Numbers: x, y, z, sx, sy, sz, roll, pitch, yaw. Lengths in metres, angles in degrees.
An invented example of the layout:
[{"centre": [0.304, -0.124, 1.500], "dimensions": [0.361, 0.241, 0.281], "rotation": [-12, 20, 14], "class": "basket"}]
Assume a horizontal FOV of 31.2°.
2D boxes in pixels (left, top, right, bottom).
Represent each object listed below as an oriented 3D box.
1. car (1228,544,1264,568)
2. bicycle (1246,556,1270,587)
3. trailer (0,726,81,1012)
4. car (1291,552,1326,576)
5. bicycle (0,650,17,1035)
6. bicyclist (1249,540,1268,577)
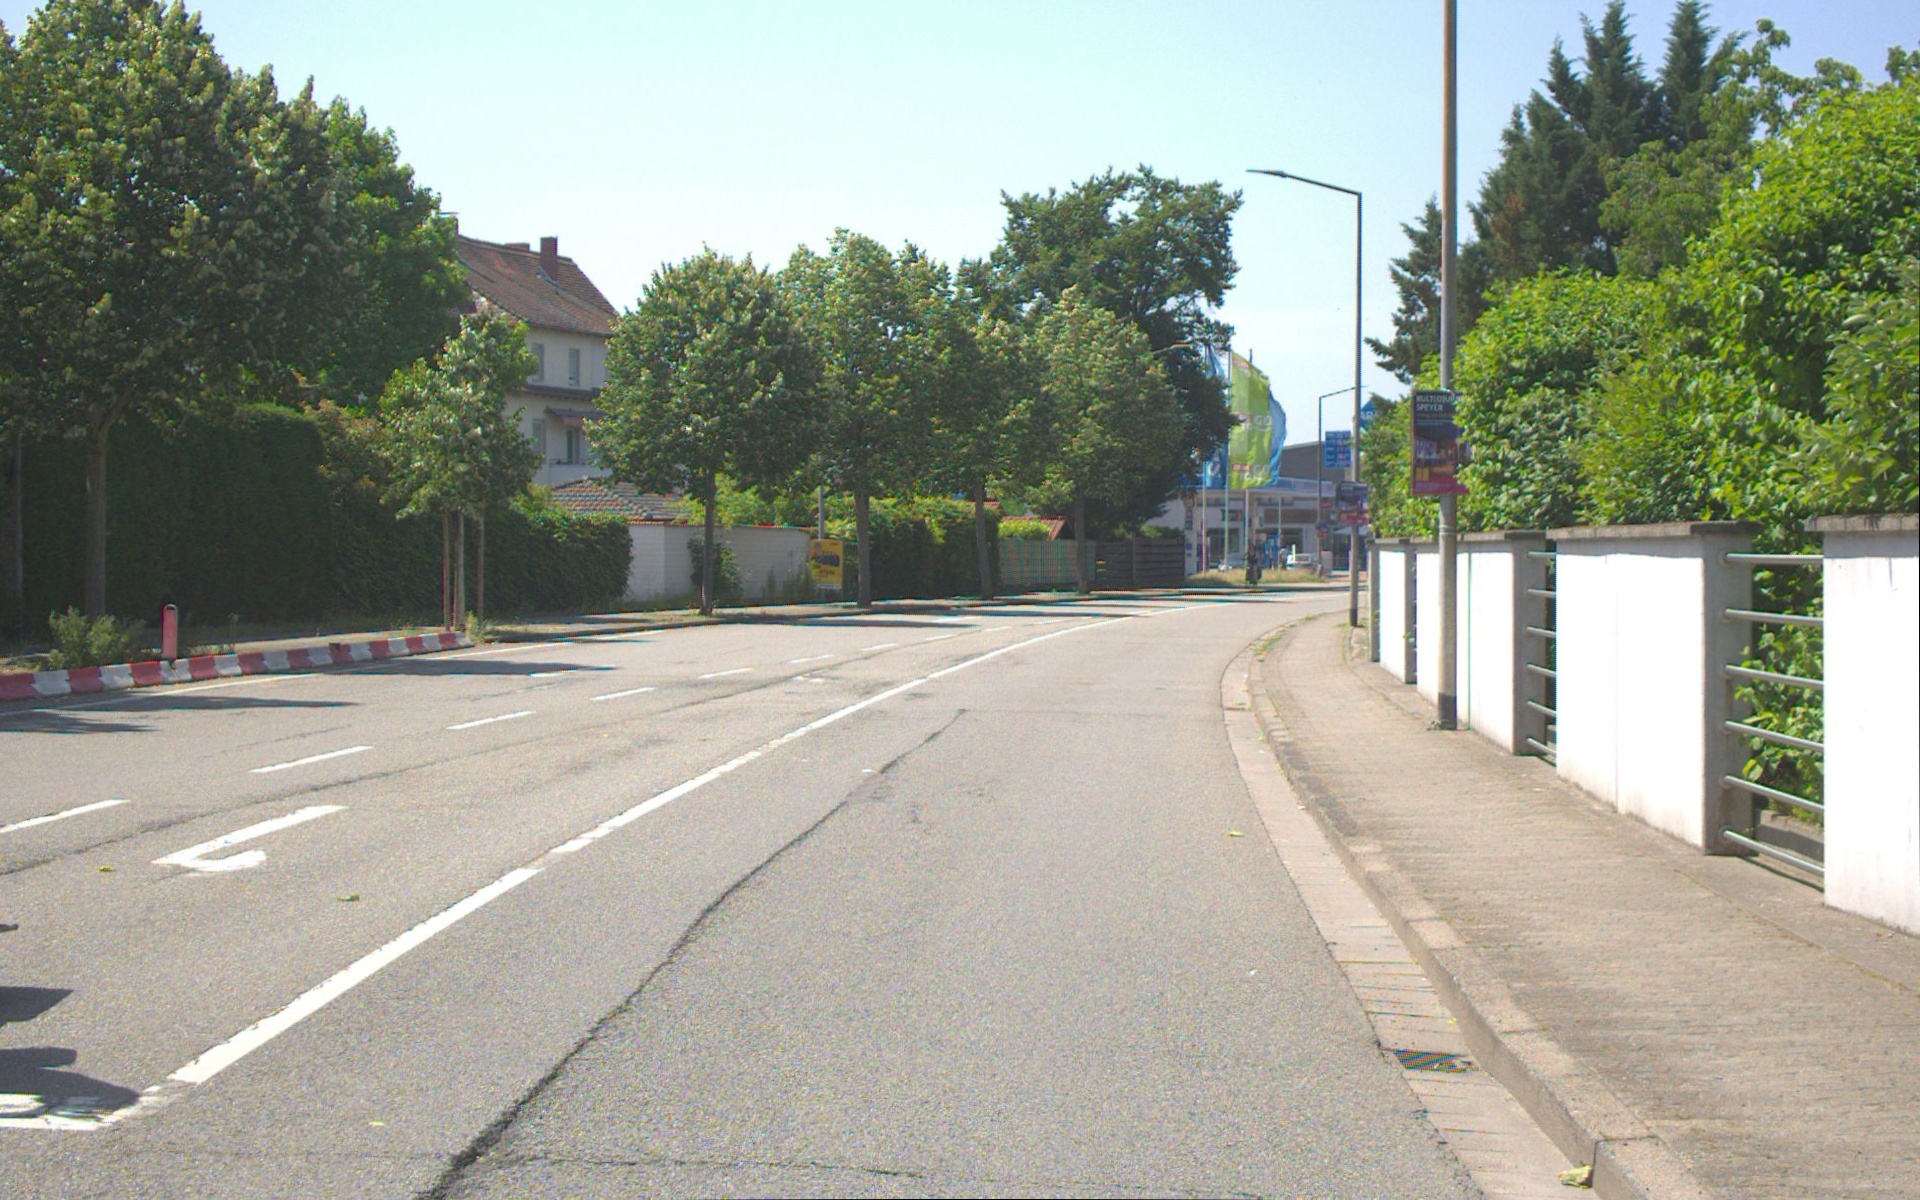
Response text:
[{"centre": [17.324, -2.663, 207.899], "dimensions": [1.618, 1.415, 3.710], "rotation": [-1, 1, 13], "class": "car"}, {"centre": [11.173, -1.072, 128.843], "dimensions": [0.632, 1.176, 1.815], "rotation": [0, 1, 13], "class": "bicycle"}, {"centre": [-3.288, 0.862, 11.128], "dimensions": [0.570, 0.853, 1.132], "rotation": [0, 1, 1], "class": "trailer"}, {"centre": [21.038, -2.170, 207.379], "dimensions": [1.618, 1.415, 3.710], "rotation": [-1, 1, 13], "class": "car"}, {"centre": [-3.335, 0.742, 9.572], "dimensions": [0.850, 1.162, 1.977], "rotation": [1, 1, 0], "class": "bicycle"}, {"centre": [11.174, -1.555, 128.823], "dimensions": [0.628, 1.404, 0.676], "rotation": [0, 1, 13], "class": "bicyclist"}]
